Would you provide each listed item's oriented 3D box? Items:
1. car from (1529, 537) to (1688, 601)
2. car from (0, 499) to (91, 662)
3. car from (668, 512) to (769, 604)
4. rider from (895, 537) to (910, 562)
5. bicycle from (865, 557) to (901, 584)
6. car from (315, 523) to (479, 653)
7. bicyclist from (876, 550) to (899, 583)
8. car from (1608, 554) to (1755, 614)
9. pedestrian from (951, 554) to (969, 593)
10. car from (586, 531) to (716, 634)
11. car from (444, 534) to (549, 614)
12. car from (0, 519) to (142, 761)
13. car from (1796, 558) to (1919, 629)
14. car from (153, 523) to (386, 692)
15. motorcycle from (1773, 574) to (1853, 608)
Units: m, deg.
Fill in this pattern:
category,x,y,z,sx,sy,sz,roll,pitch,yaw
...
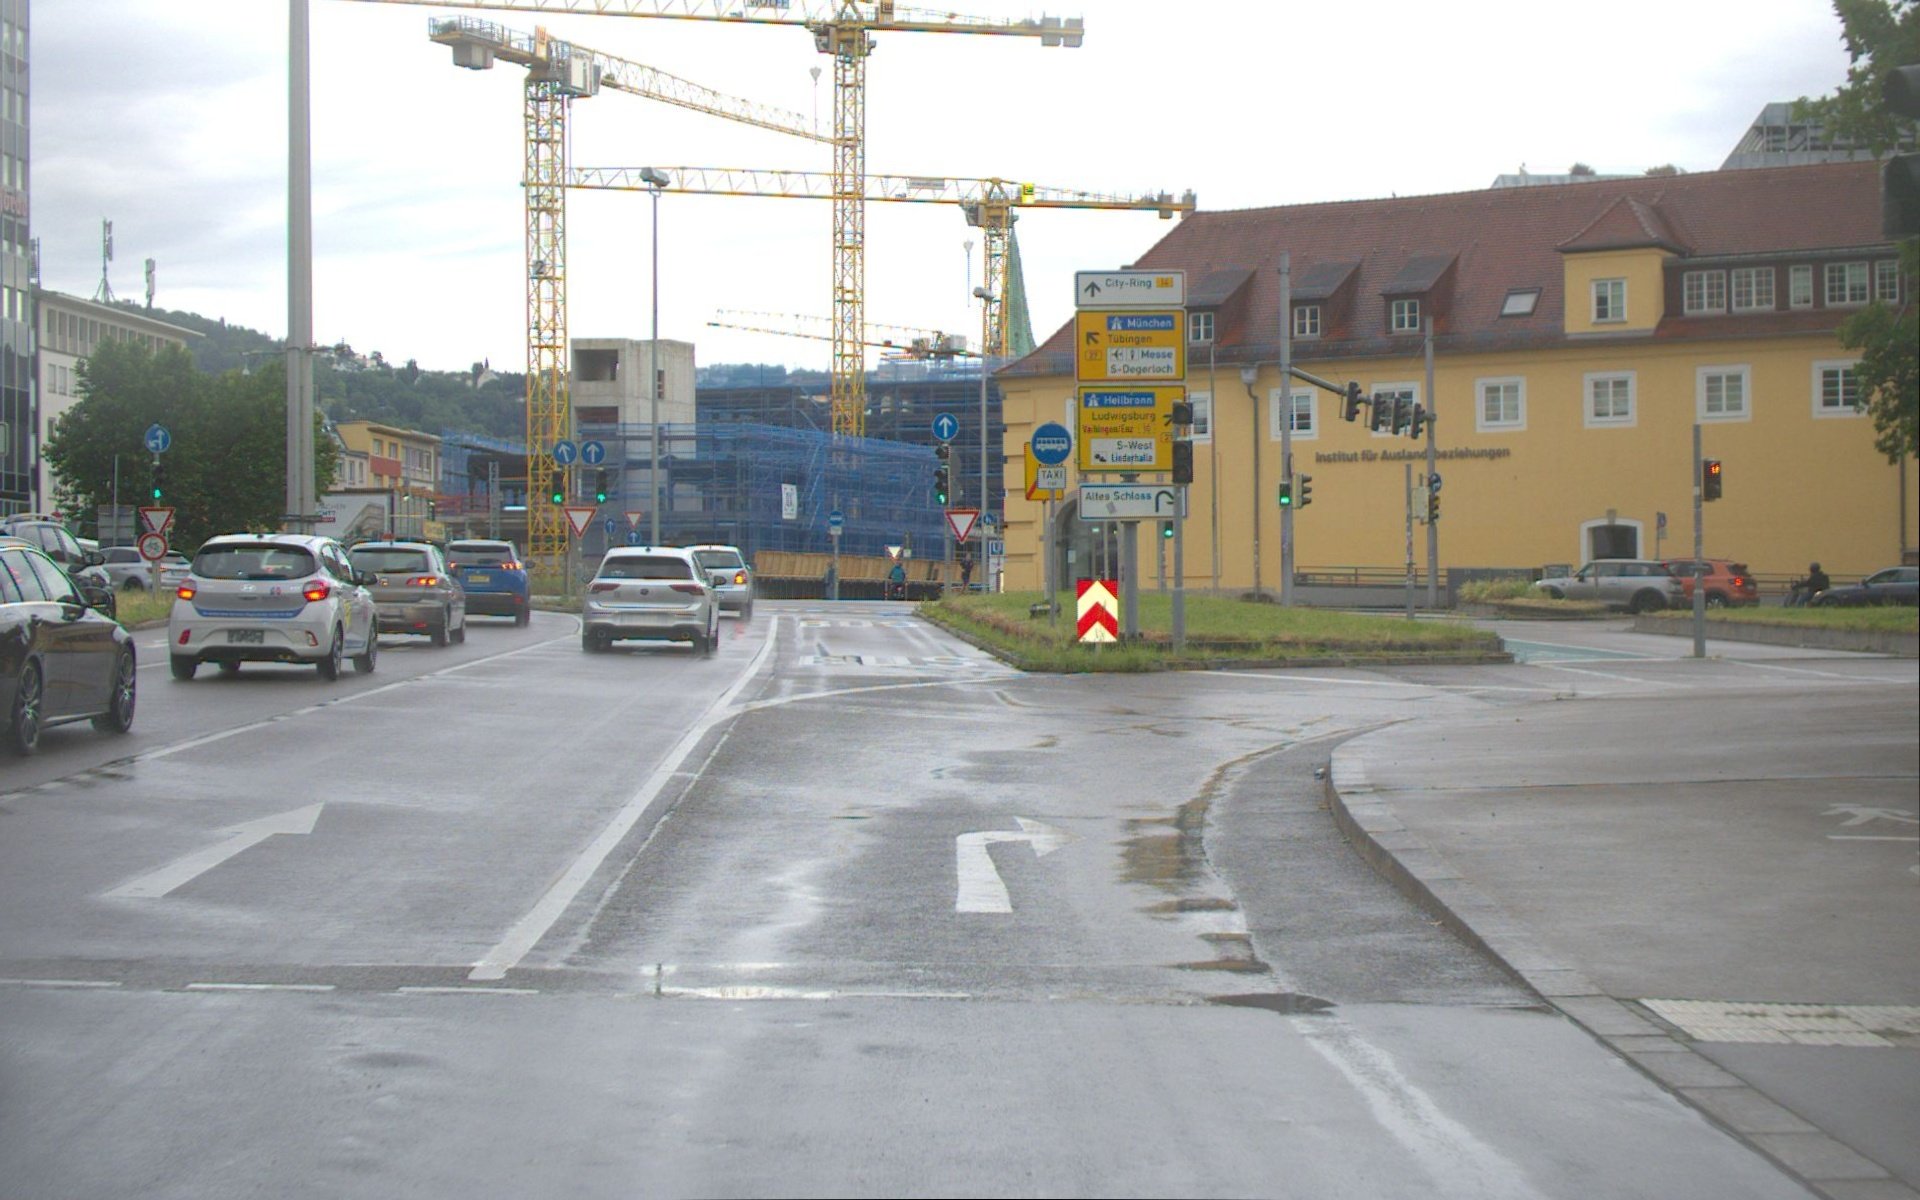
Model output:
category,x,y,z,sx,sy,sz,roll,pitch,yaw
car,15.732,-0.746,83.377,3.406,1.477,1.832,1,-1,25
car,-10.604,-0.200,37.626,1.464,1.700,3.141,1,-1,-2
car,-4.847,-0.874,69.435,1.667,1.735,3.287,2,2,2
rider,-2.457,-2.152,147.327,0.619,1.035,0.533,1,-1,2
bicycle,-2.981,-1.138,132.756,0.880,1.006,1.993,1,-1,-16
car,-7.836,-0.135,48.127,1.716,1.721,3.494,1,-1,0
bicyclist,-2.796,-1.283,132.413,0.703,1.271,0.635,1,-1,-16
car,18.523,-0.415,88.216,3.403,1.467,1.650,1,-1,24
pedestrian,0.005,-0.945,121.603,0.456,1.363,0.443,0,-1,38
car,-4.232,-0.227,47.389,1.444,1.354,2.412,1,-1,3
car,-8.348,-0.450,62.052,1.493,1.365,3.033,1,-1,-1
car,-6.800,0.202,22.825,1.830,1.489,3.399,1,1,2
car,23.236,-0.146,84.575,4.814,1.703,1.995,0,-1,43
car,-7.153,0.092,35.906,1.880,1.647,3.458,1,-1,-3
motorcycle,22.202,-0.238,89.490,1.966,0.850,0.545,1,-1,22
